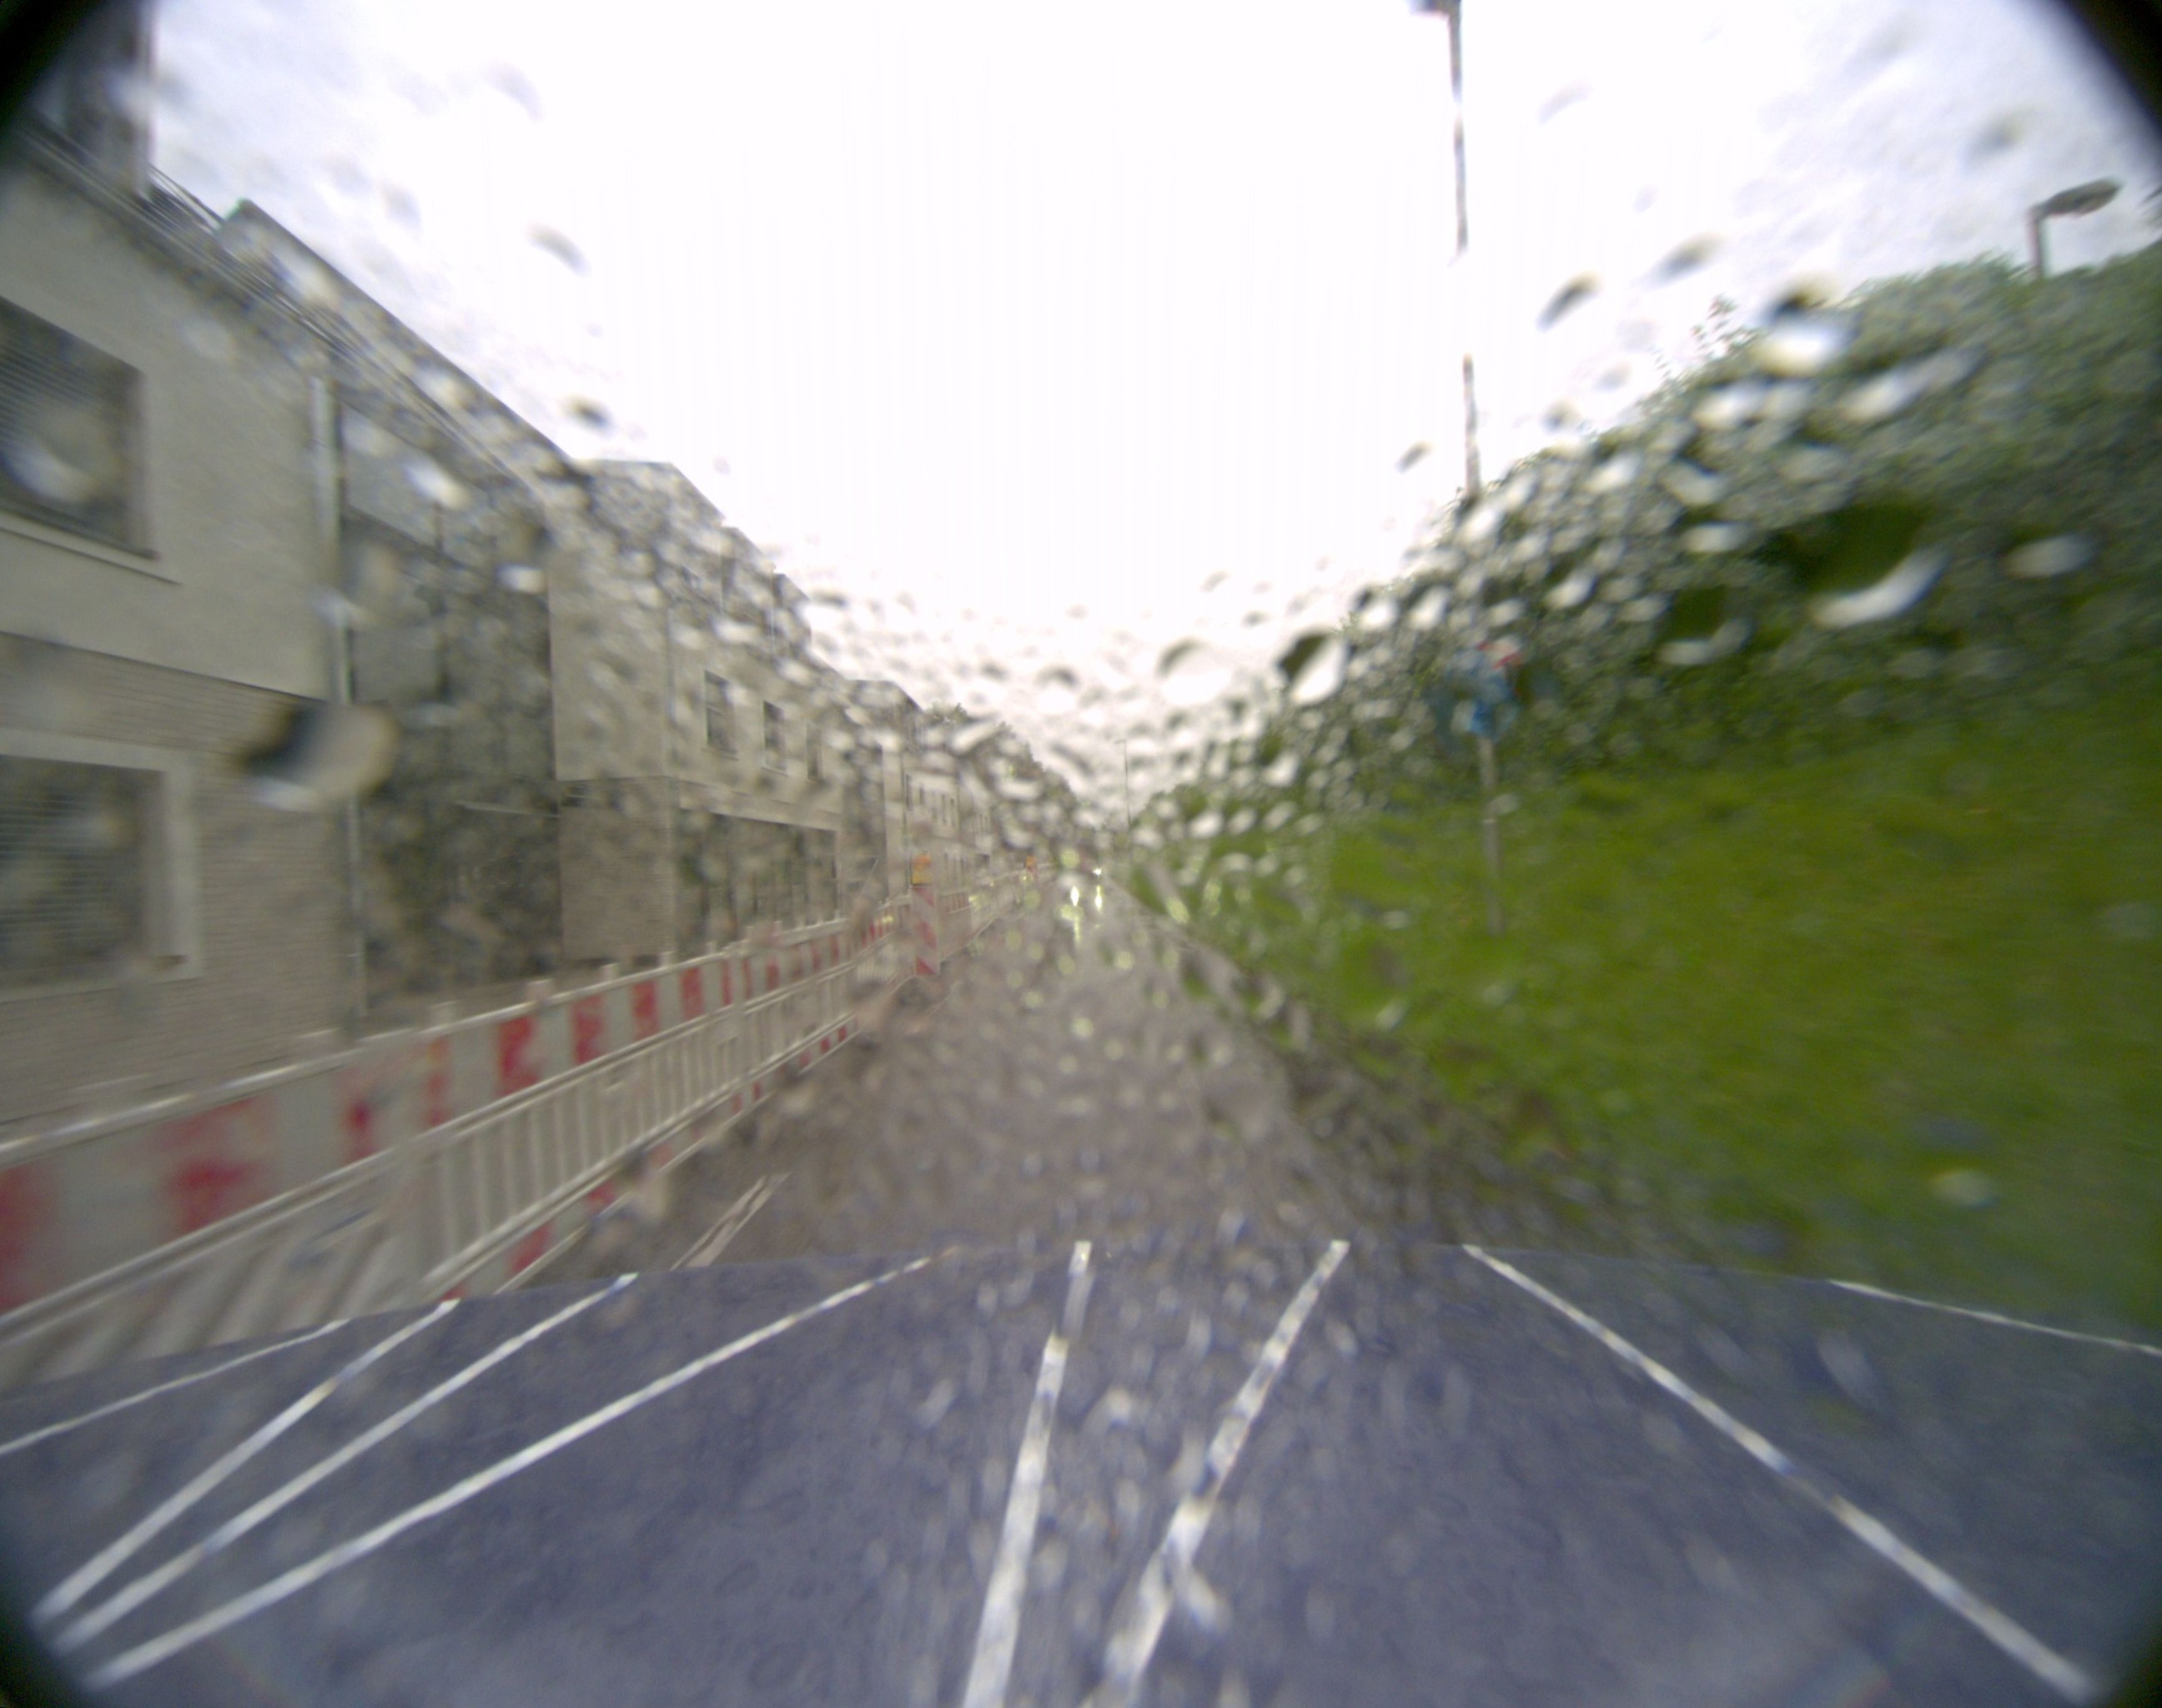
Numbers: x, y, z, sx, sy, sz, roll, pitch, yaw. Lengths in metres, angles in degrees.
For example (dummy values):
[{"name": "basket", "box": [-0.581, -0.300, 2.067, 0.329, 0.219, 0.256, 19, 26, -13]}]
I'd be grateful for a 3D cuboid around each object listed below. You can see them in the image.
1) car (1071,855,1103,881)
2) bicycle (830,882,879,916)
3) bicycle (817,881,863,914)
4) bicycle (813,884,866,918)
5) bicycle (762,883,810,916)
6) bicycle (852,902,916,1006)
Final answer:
[{"name": "car", "box": [0.391, 0.806, 47.335, 1.851, 1.444, 4.531, -2, 1, 0]}, {"name": "bicycle", "box": [-7.685, 1.515, 25.763, 1.535, 1.047, 0.449, -2, 1, -18]}, {"name": "bicycle", "box": [-8.676, 1.552, 27.375, 0.488, 1.071, 1.537, -1, 1, 39]}, {"name": "bicycle", "box": [-7.906, 1.526, 24.884, 1.533, 1.047, 0.450, -2, 1, 1]}, {"name": "bicycle", "box": [-10.661, 1.619, 27.467, 0.488, 1.071, 1.537, -1, 1, 39]}, {"name": "bicycle", "box": [-2.471, 1.232, 9.635, 0.407, 1.137, 1.221, -2, 1, 2]}]
